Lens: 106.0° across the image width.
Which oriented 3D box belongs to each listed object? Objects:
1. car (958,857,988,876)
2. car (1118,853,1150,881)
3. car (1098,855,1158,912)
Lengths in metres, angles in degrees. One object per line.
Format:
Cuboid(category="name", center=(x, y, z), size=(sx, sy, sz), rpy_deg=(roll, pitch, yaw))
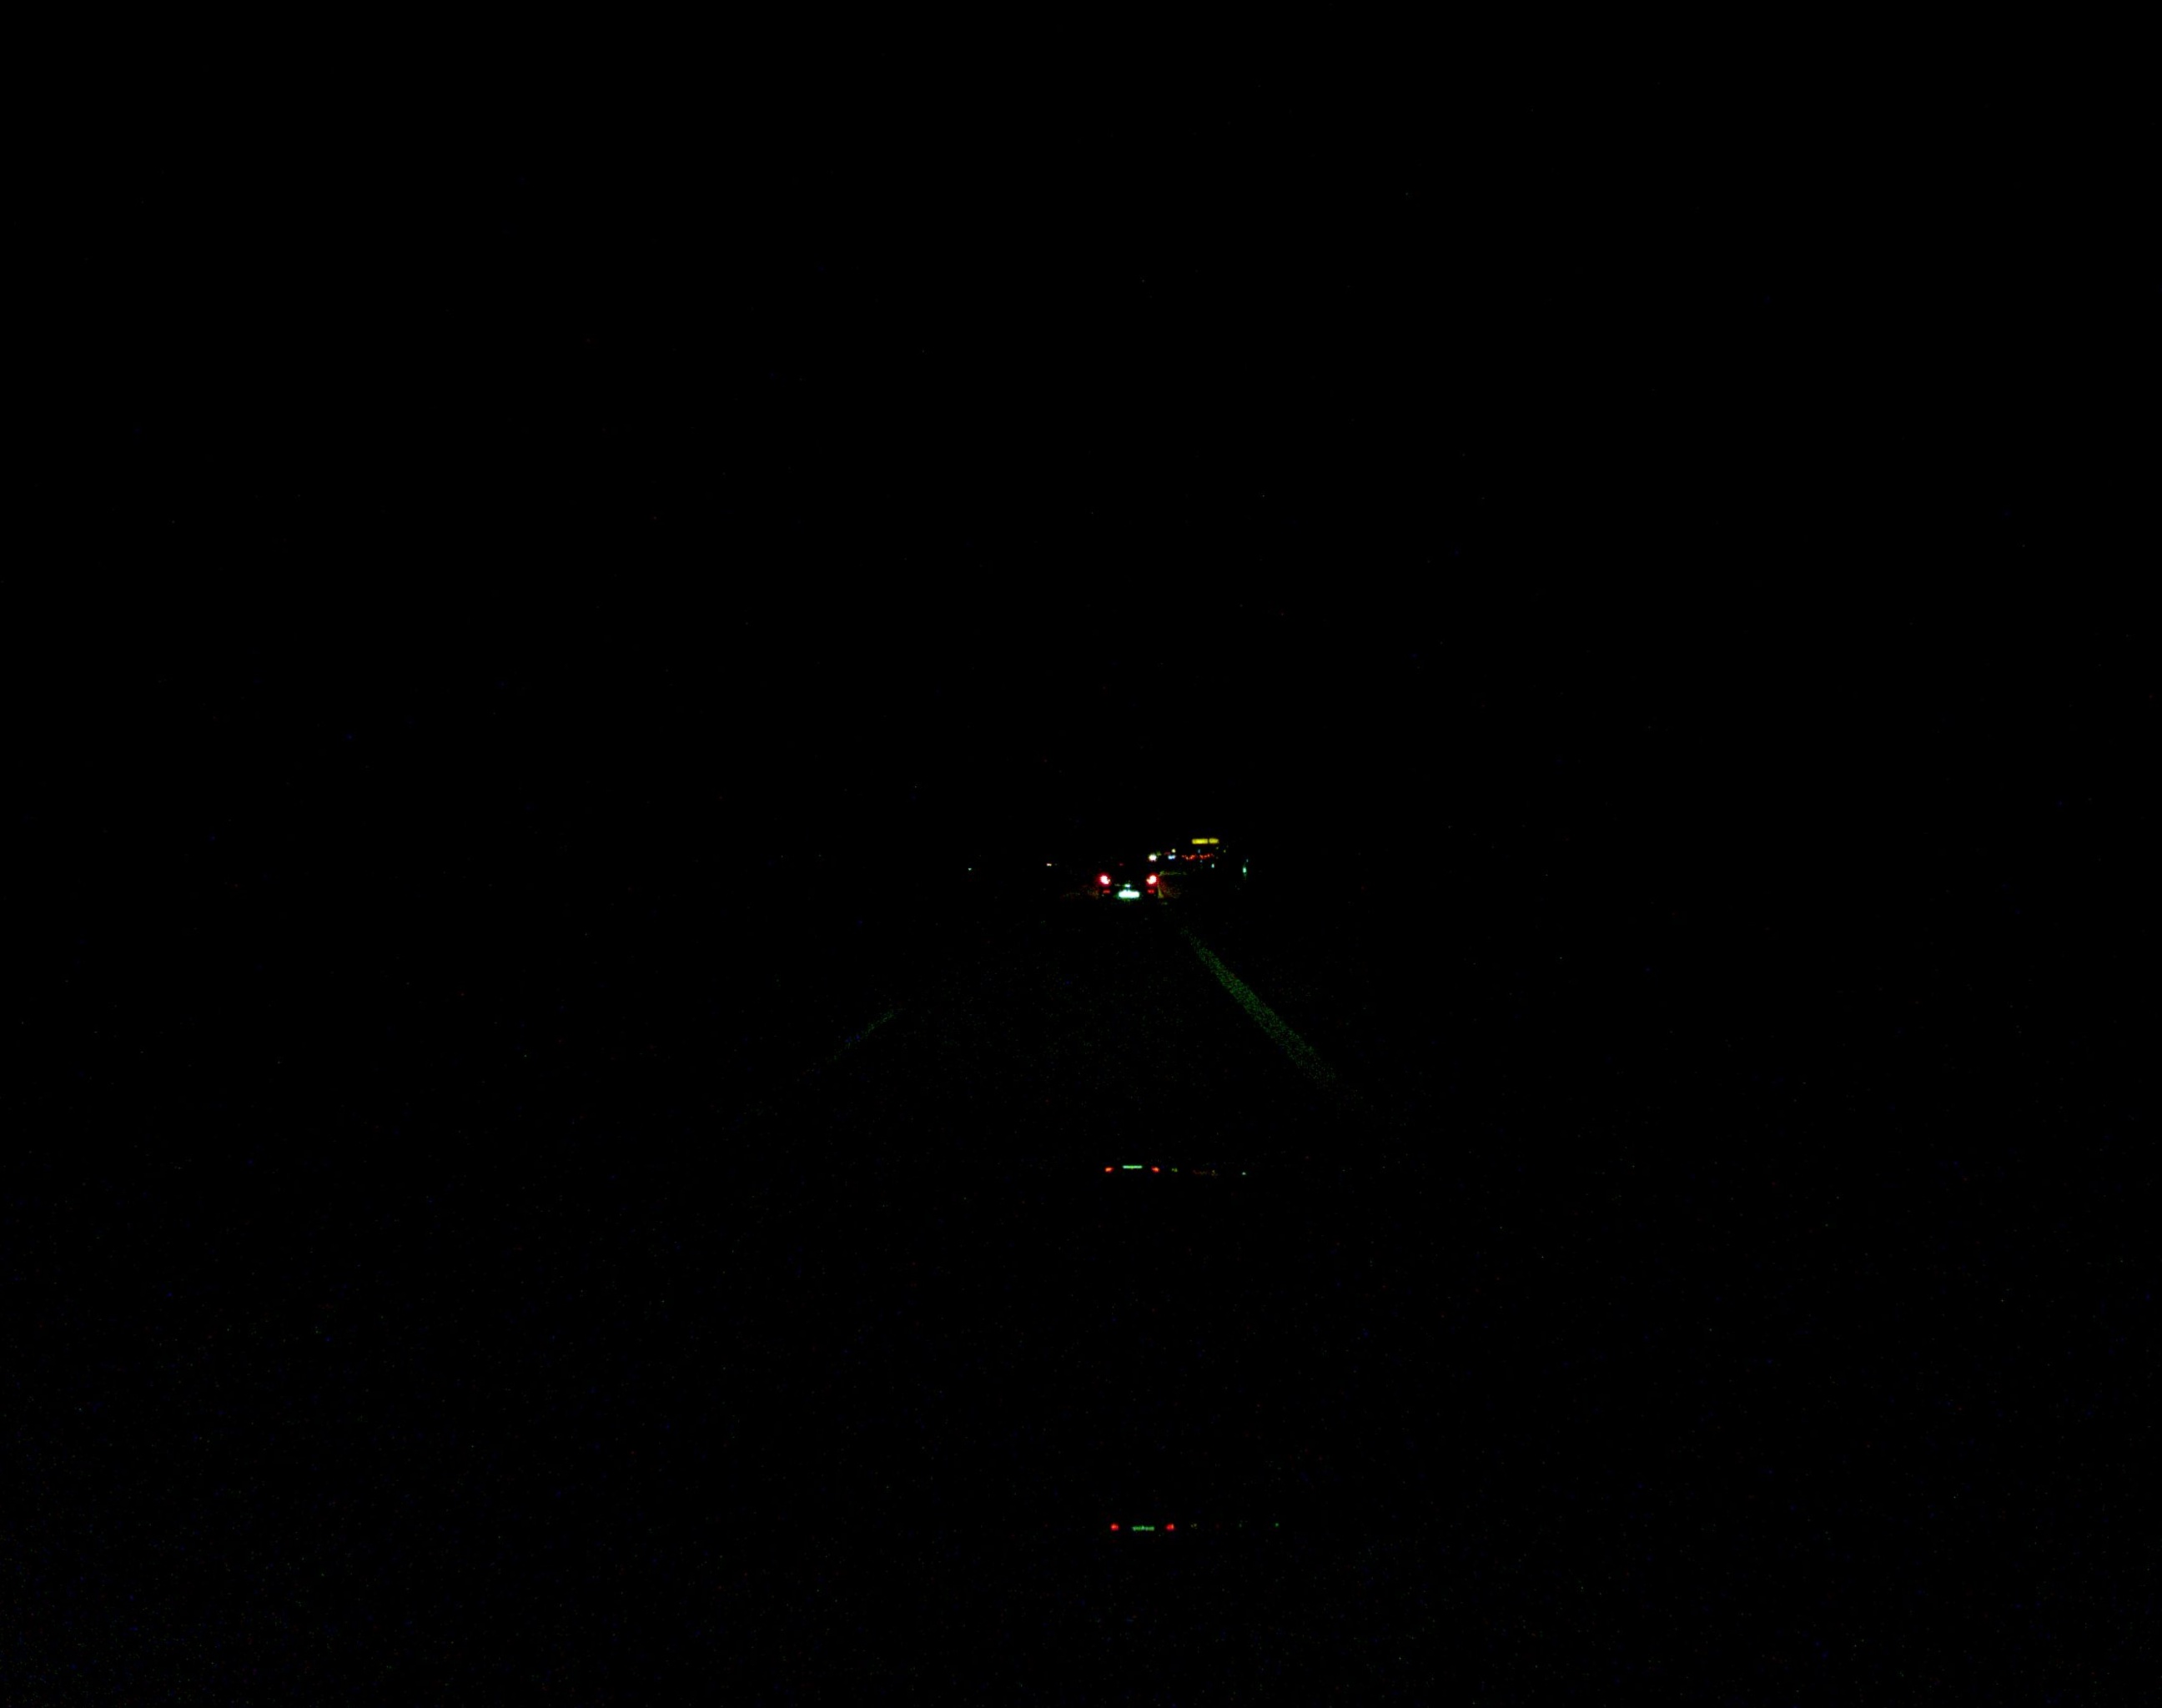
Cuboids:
Cuboid(category="car", center=(-9.969, 1.105, 75.231), size=(1.986, 1.657, 4.535), rpy_deg=(-2, -1, 1))
Cuboid(category="car", center=(3.503, 0.842, 53.259), size=(1.897, 1.698, 4.007), rpy_deg=(-1, 0, 6))
Cuboid(category="car", center=(1.306, 0.791, 23.751), size=(1.583, 1.508, 4.000), rpy_deg=(0, 0, 1))
